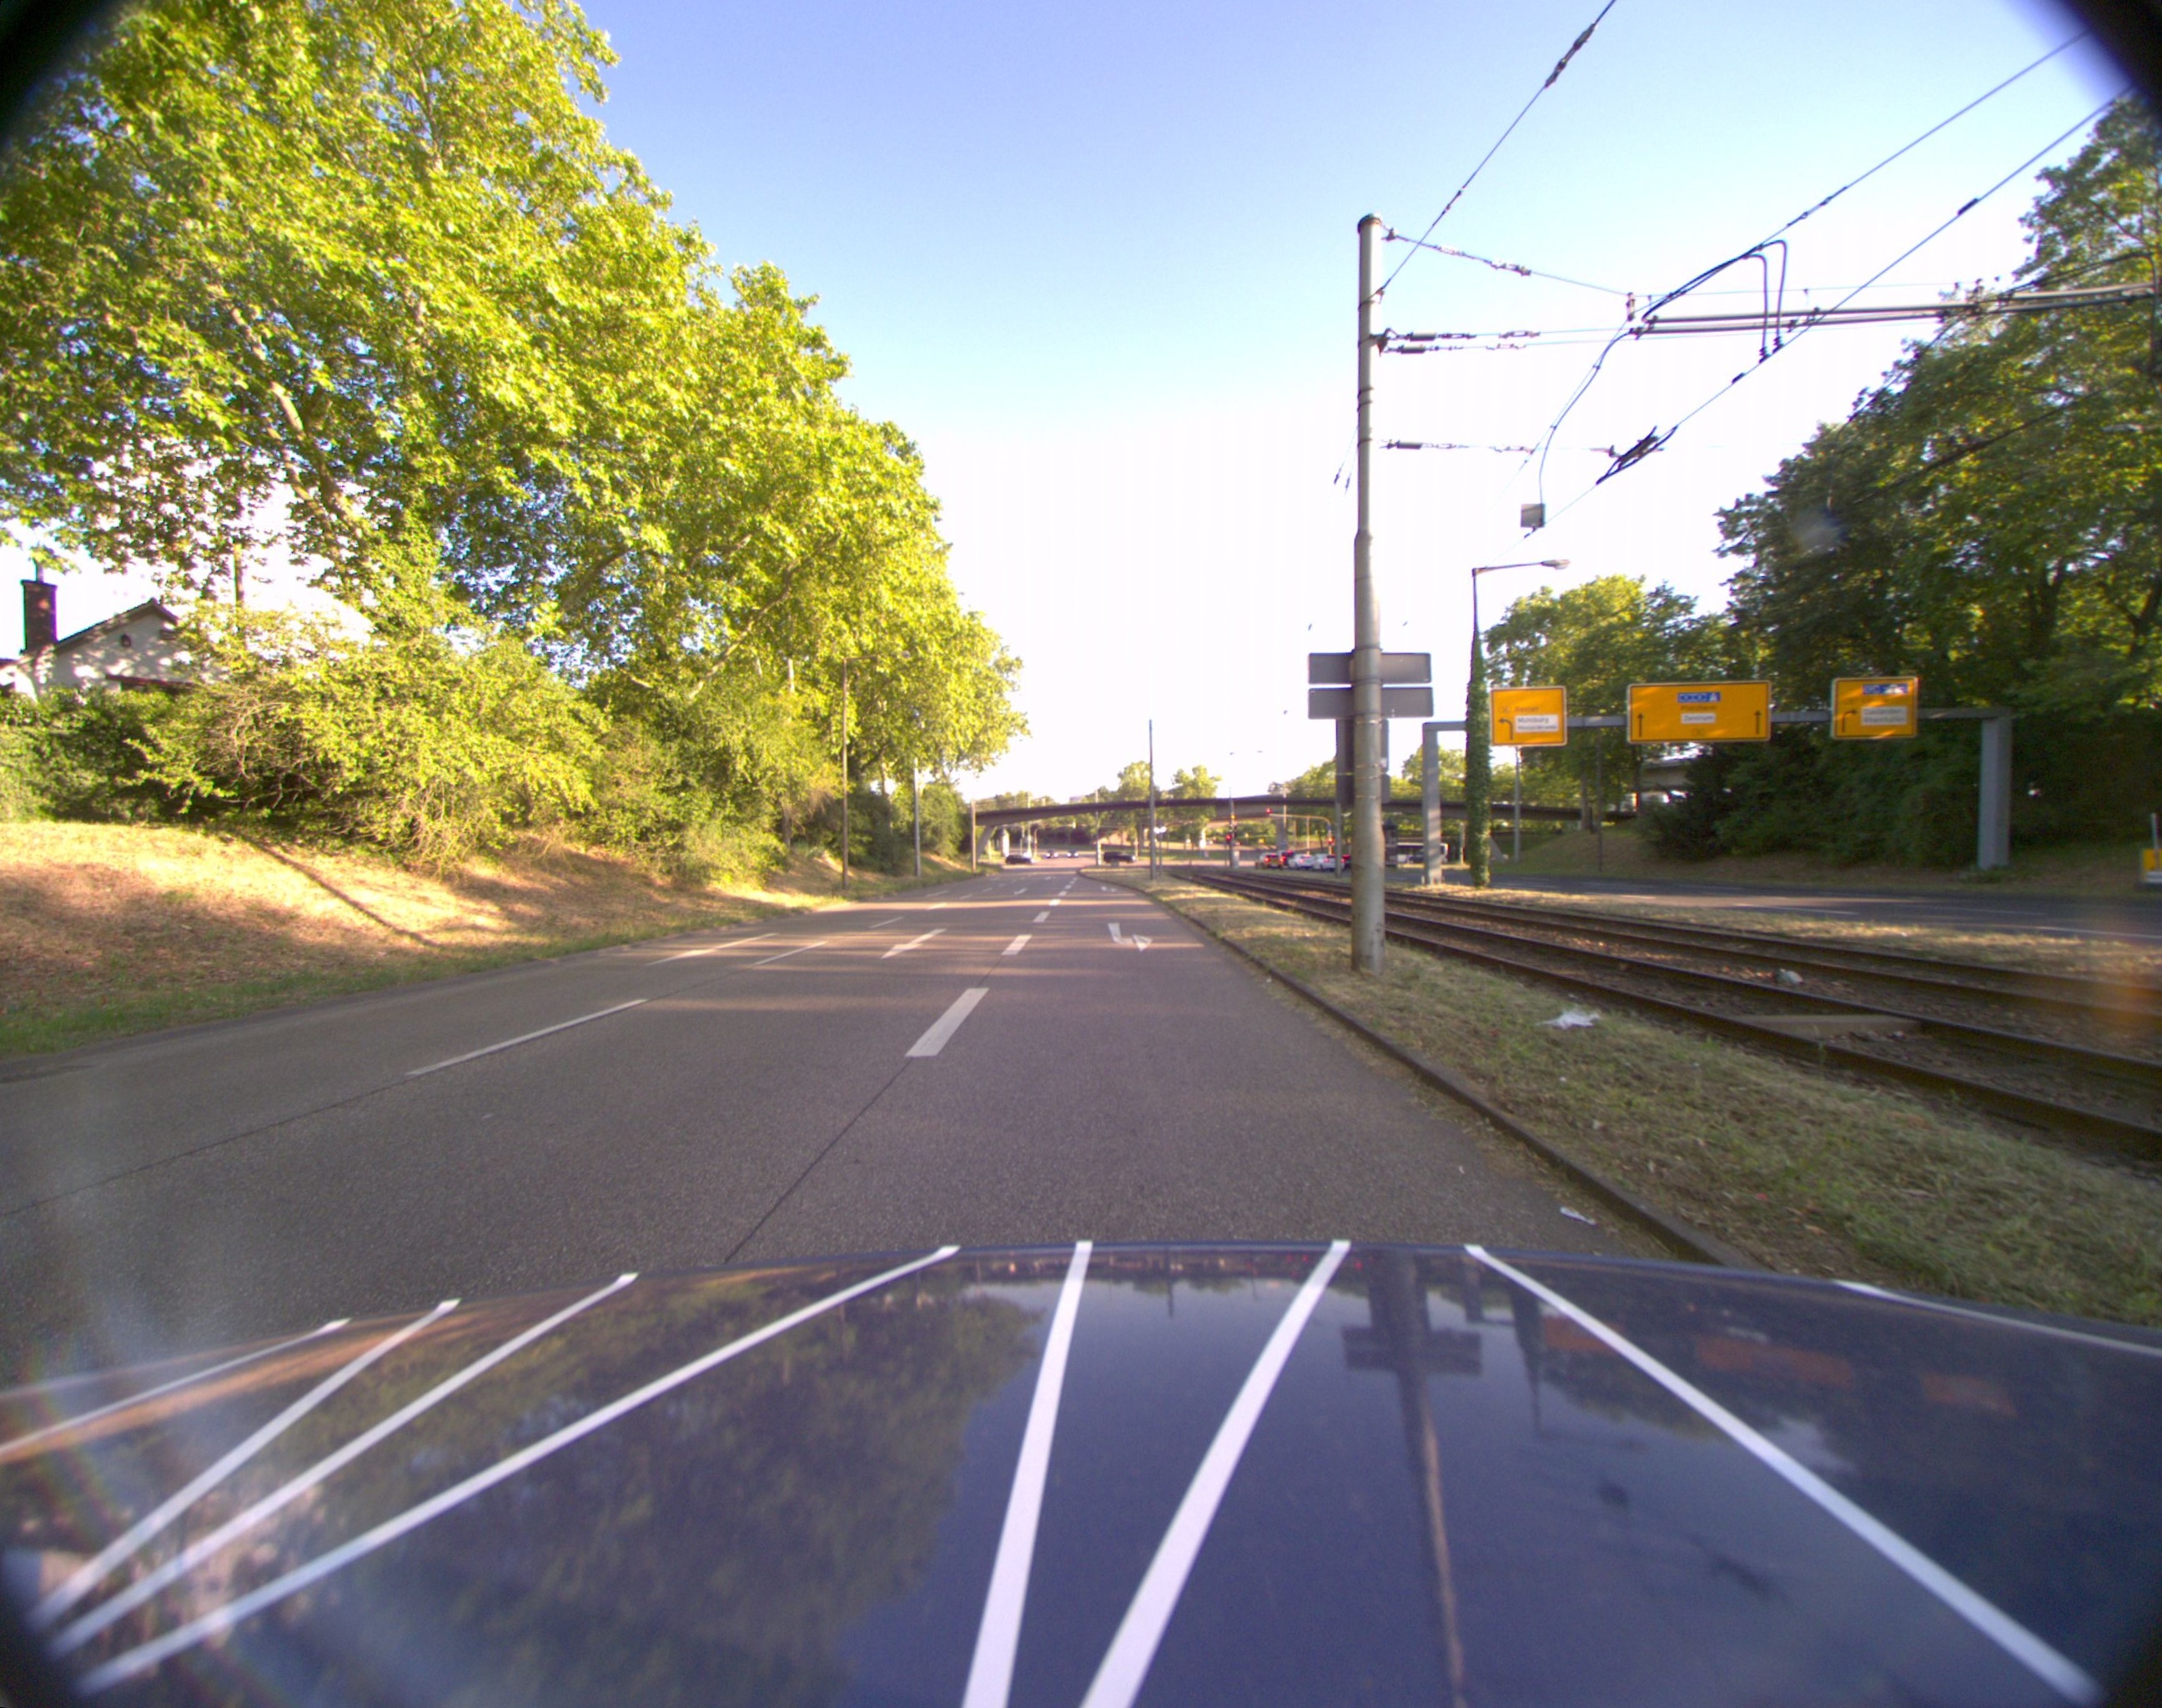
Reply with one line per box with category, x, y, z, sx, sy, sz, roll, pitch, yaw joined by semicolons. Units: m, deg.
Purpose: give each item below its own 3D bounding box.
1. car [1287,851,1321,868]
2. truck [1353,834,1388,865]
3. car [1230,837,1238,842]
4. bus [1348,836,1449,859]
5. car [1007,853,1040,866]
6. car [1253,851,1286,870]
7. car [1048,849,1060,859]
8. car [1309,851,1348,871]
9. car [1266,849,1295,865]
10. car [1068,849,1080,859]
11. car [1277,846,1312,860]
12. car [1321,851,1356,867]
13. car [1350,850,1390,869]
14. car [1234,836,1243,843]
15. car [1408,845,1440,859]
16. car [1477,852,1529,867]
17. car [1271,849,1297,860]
car;19.914;0.486;68.061;1.918;1.416;4.227;-1;0;2
truck;28.384;-0.434;74.776;2.281;2.862;6.886;-1;0;13
car;44.426;-4.194;220.625;1.832;1.609;3.983;-2;1;7
bus;45.442;-0.885;108.994;13.162;2.846;2.421;-2;1;23
car;-7.624;0.711;101.385;3.993;1.646;1.786;-2;1;14
car;16.147;0.504;65.214;1.767;1.535;4.000;-1;0;0
car;-4.894;0.033;139.182;1.960;1.779;3.998;-2;0;-5
car;19.992;0.544;61.518;1.767;1.535;4.000;-1;0;0
car;19.582;0.261;74.719;1.917;1.540;4.227;-1;0;4
car;-1.250;-0.019;141.858;1.905;1.726;3.998;-2;0;-5
car;25.642;-0.105;91.338;4.021;1.485;1.625;-2;1;17
car;23.737;0.443;70.186;1.868;1.416;4.226;-1;0;0
car;23.994;0.439;63.240;1.813;1.535;4.000;-1;0;1
car;42.691;-3.961;206.106;1.832;1.609;3.983;-2;1;7
car;46.647;-0.279;103.327;3.805;1.848;1.679;-2;1;20
car;46.516;0.618;83.820;4.797;1.563;1.942;-2;0;24
car;30.782;0.070;115.268;3.647;1.503;1.665;-2;1;20
